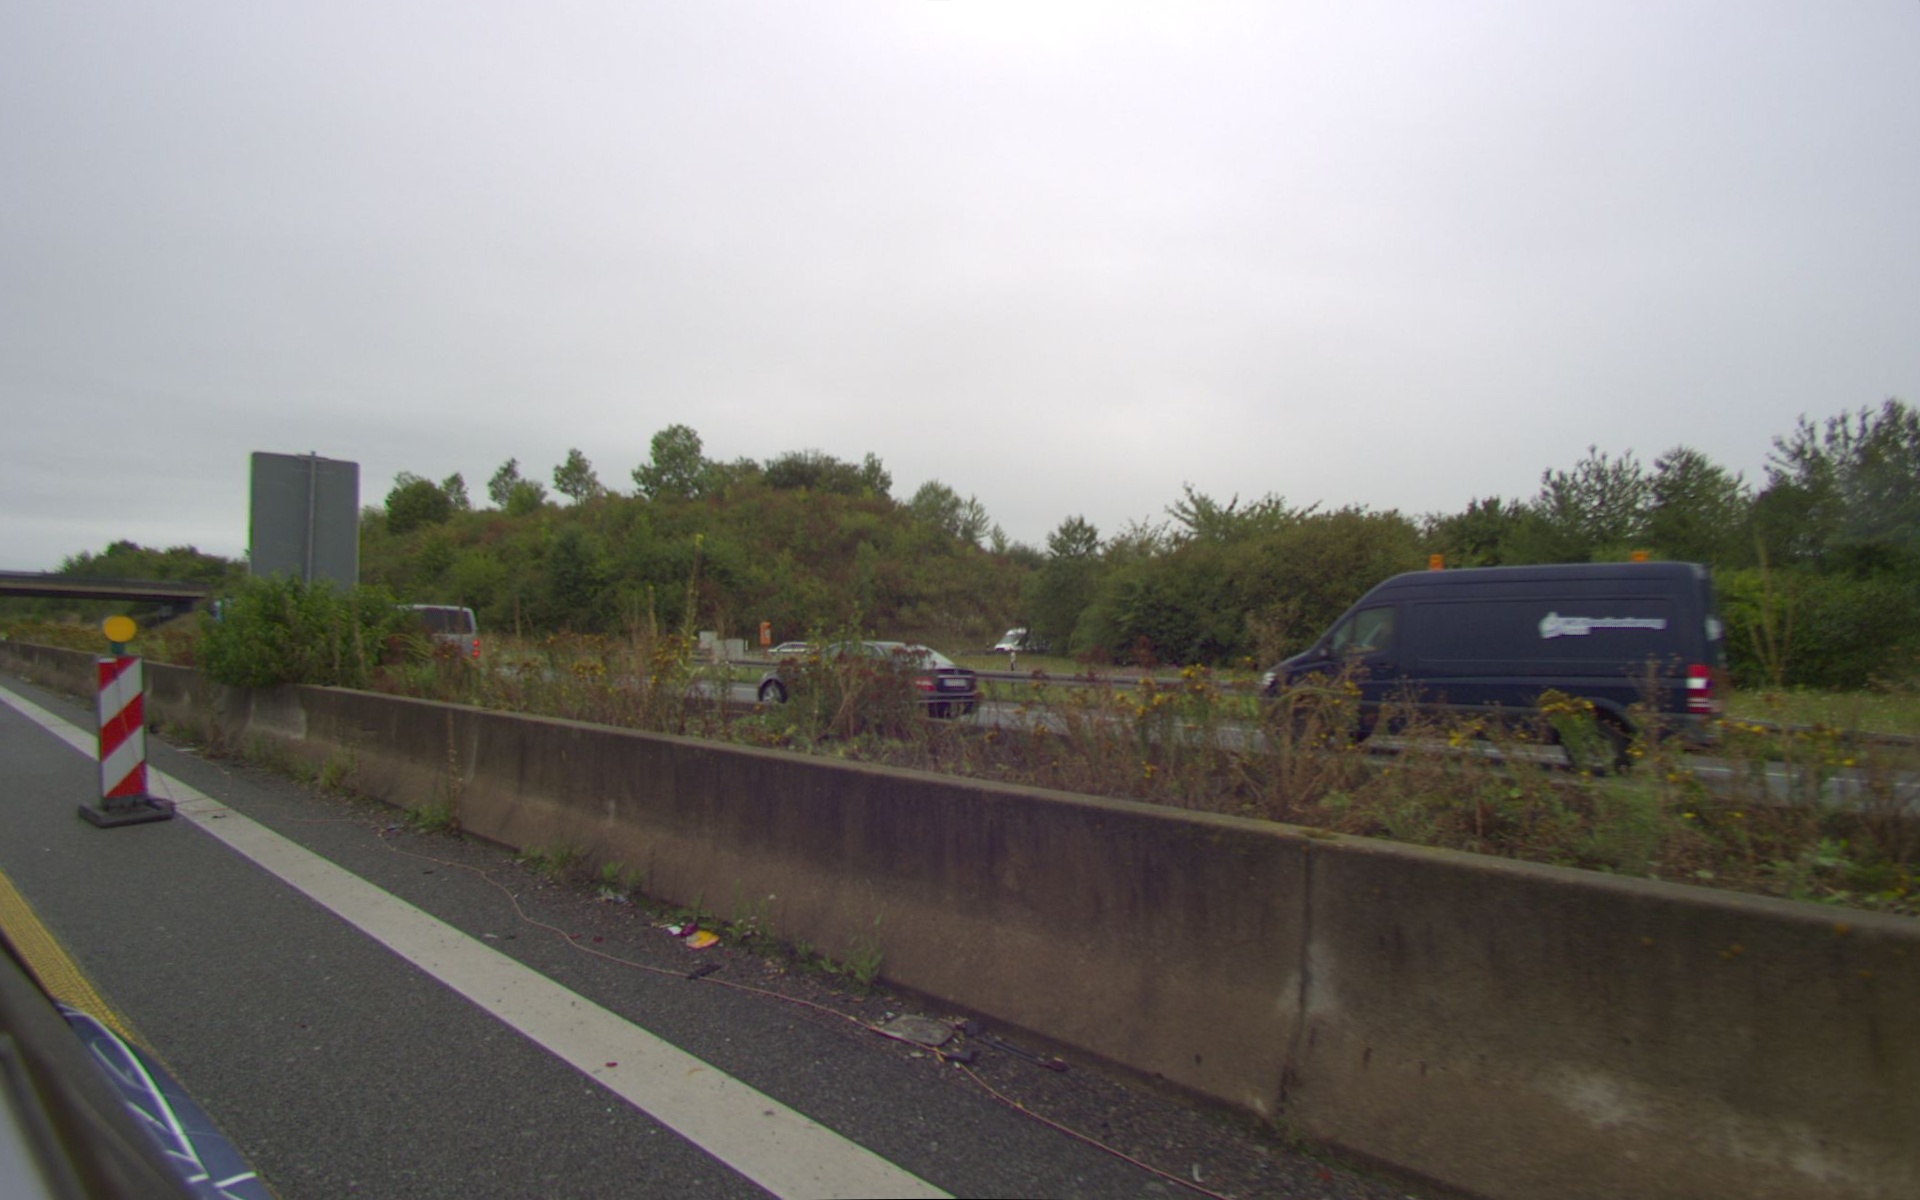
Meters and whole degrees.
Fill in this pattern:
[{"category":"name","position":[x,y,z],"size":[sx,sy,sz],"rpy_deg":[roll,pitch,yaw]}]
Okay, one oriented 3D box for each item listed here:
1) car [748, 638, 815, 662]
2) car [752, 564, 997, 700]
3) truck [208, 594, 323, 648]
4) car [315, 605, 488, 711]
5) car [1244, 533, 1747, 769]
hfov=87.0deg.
[{"category":"car","position":[-11.239,3.156,63.720],"size":[3.931,1.414,1.926],"rpy_deg":[1,-2,-18]},{"category":"car","position":[-1.522,0.480,17.204],"size":[3.999,2.029,1.972],"rpy_deg":[0,0,42]},{"category":"truck","position":[-51.363,1.640,74.595],"size":[14.563,3.647,2.863],"rpy_deg":[-2,-3,39]},{"category":"car","position":[-12.388,1.170,22.268],"size":[5.254,2.029,1.749],"rpy_deg":[-1,1,43]},{"category":"car","position":[7.113,0.574,14.010],"size":[5.846,2.629,2.029],"rpy_deg":[0,0,42]}]
